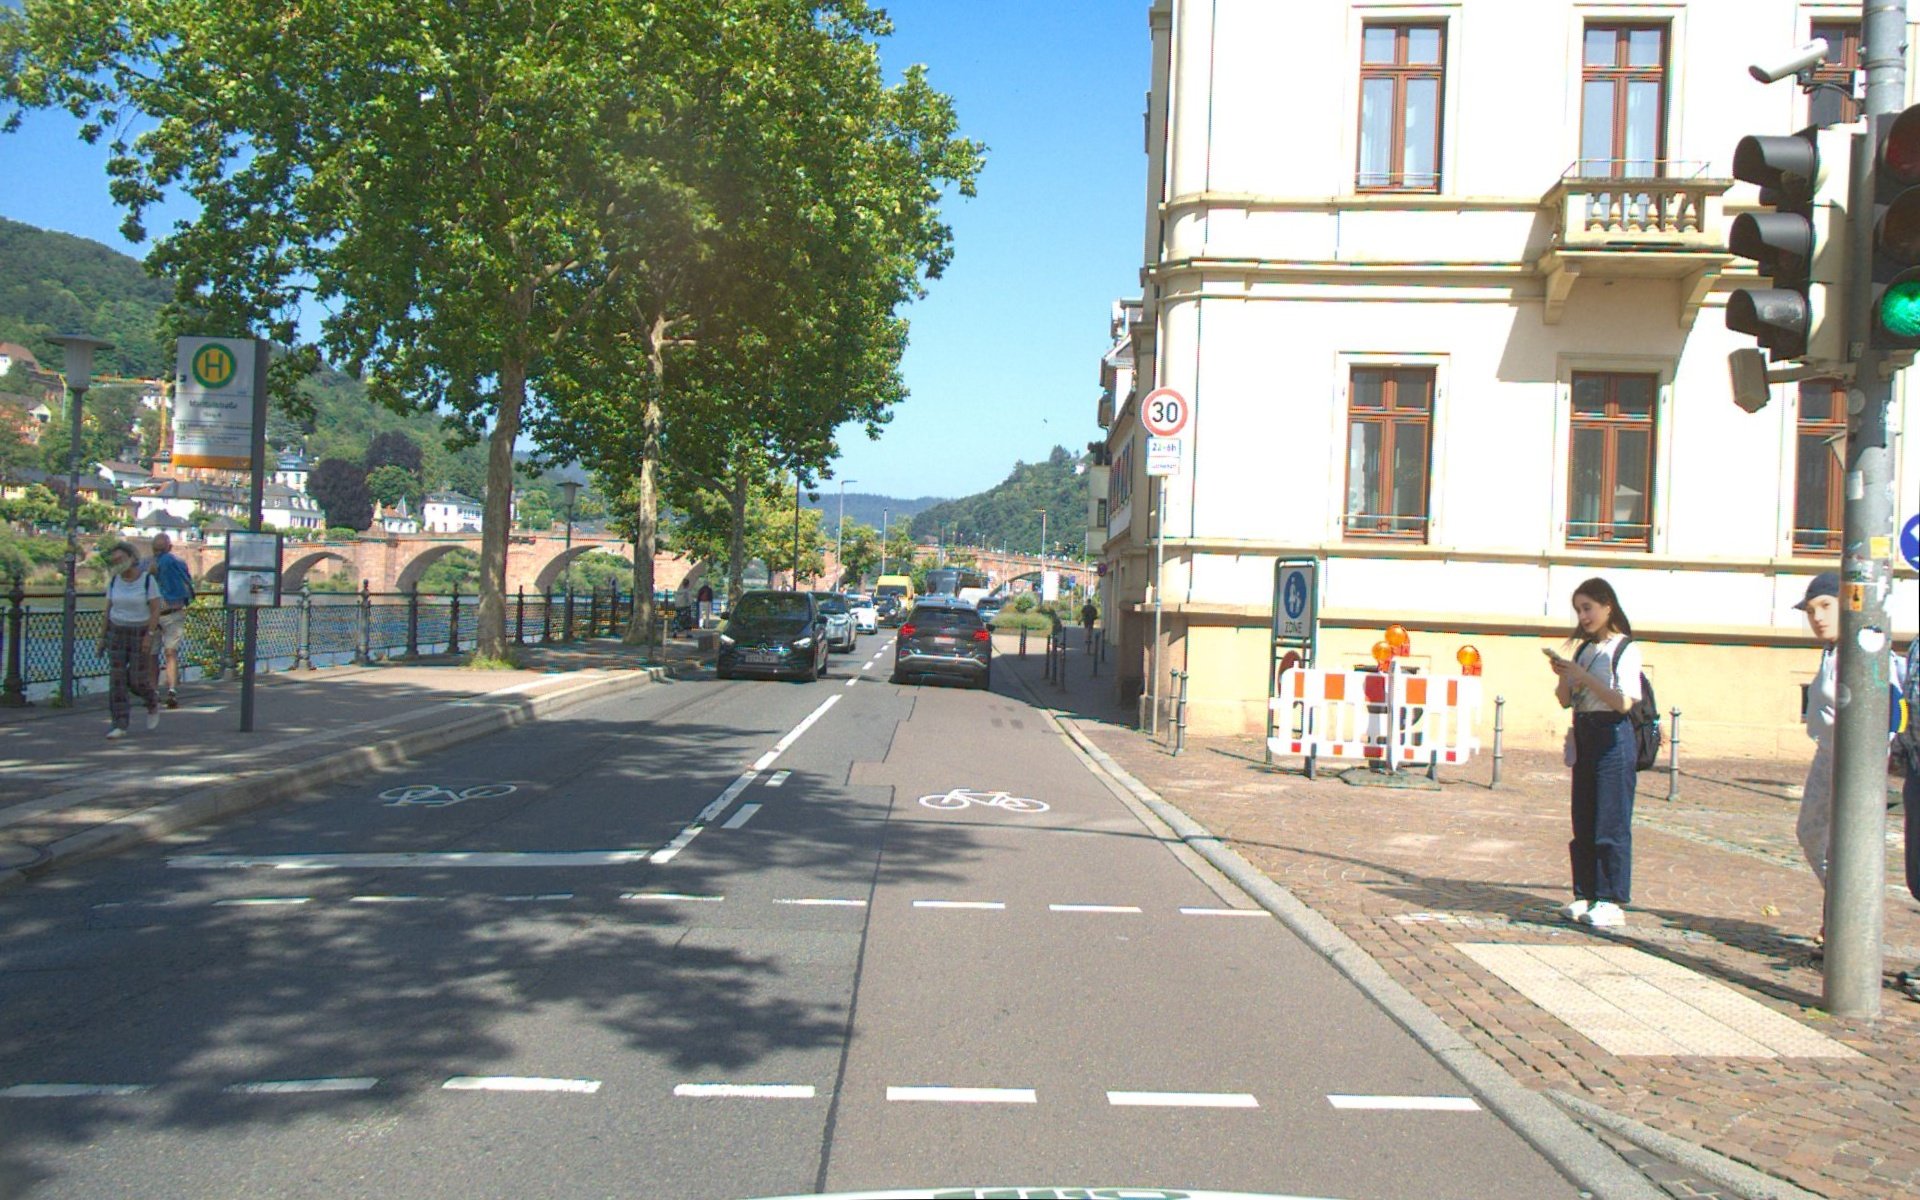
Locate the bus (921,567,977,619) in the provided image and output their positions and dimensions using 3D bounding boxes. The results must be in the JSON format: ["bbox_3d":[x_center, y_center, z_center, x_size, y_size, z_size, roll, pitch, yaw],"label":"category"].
[{"bbox_3d":[-0.731,-0.435,126.809,2.575,3.626,12.991,2,-1,7],"label":"bus"}]

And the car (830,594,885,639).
[{"bbox_3d":[-3.843,0.595,62.547,1.666,1.470,4.093,3,1,1],"label":"car"}]

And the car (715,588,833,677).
[{"bbox_3d":[-3.368,0.564,30.667,1.666,1.544,4.404,0,0,0],"label":"car"}]

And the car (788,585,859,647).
[{"bbox_3d":[-3.575,0.436,43.894,1.701,1.545,4.401,1,-1,-3],"label":"car"}]

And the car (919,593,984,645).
[{"bbox_3d":[-0.217,0.561,51.657,1.887,1.486,4.832,2,0,1],"label":"car"}]

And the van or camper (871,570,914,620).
[{"bbox_3d":[-3.751,-0.267,93.200,2.045,2.601,7.091,3,0,0],"label":"van or camper"}]

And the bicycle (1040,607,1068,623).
[{"bbox_3d":[6.084,0.979,107.387,1.772,0.893,0.502,4,1,3],"label":"bicycle"}]

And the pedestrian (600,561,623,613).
[{"bbox_3d":[-13.670,-0.510,64.876,0.679,1.979,0.886,2,0,-2],"label":"pedestrian"}]

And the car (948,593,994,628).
[{"bbox_3d":[0.565,0.490,79.968,1.886,1.580,4.834,1,0,4],"label":"car"}]

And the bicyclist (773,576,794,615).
[{"bbox_3d":[-7.509,-0.176,70.476,0.704,1.611,1.089,2,0,1],"label":"bicyclist"}]

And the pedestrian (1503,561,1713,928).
[{"bbox_3d":[3.165,0.681,8.132,0.701,1.705,0.682,2,0,-2],"label":"pedestrian"}]

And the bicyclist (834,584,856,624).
[{"bbox_3d":[-4.798,0.160,69.245,0.751,1.558,1.025,3,2,1],"label":"bicyclist"}]

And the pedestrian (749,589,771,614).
[{"bbox_3d":[-10.500,0.082,86.967,0.916,1.303,0.850,2,0,8],"label":"pedestrian"}]

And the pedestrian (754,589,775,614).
[{"bbox_3d":[-10.382,0.089,87.873,0.916,1.303,0.850,2,0,8],"label":"pedestrian"}]

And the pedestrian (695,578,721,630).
[{"bbox_3d":[-8.610,0.147,56.544,0.643,1.711,0.758,5,0,-2],"label":"pedestrian"}]

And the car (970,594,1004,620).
[{"bbox_3d":[1.754,0.425,105.762,1.886,1.580,4.834,1,0,4],"label":"car"}]

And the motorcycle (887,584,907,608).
[{"bbox_3d":[-3.171,-0.208,83.481,0.866,1.096,2.326,2,2,-5],"label":"motorcycle"}]

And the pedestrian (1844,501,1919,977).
[{"bbox_3d":[4.119,0.558,6.721,0.603,1.884,0.730,2,0,-1],"label":"pedestrian"}]

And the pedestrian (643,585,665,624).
[{"bbox_3d":[-12.947,0.192,69.936,0.679,1.644,0.664,2,0,6],"label":"pedestrian"}]

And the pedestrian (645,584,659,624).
[{"bbox_3d":[-12.958,0.168,69.659,0.406,1.625,0.451,2,0,6],"label":"pedestrian"}]

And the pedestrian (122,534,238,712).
[{"bbox_3d":[-8.191,0.236,17.407,0.697,1.795,0.972,2,0,-2],"label":"pedestrian"}]

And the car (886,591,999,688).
[{"bbox_3d":[-0.387,0.715,31.349,1.888,1.580,4.830,4,-1,-2],"label":"car"}]

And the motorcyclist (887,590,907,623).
[{"bbox_3d":[-3.185,0.307,83.458,0.861,1.611,1.024,2,0,-6],"label":"motorcyclist"}]

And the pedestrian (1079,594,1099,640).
[{"bbox_3d":[4.954,0.646,63.485,0.746,1.743,0.696,-1,-1,2],"label":"pedestrian"}]

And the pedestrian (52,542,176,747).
[{"bbox_3d":[-7.099,0.360,13.919,0.483,1.645,0.991,2,0,-2],"label":"pedestrian"}]

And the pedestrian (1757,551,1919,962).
[{"bbox_3d":[4.016,0.673,7.405,0.516,1.742,0.665,2,0,-2],"label":"pedestrian"}]

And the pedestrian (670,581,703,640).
[{"bbox_3d":[-7.711,0.288,46.665,0.746,1.614,0.695,2,0,-2],"label":"pedestrian"}]

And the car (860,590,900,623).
[{"bbox_3d":[-3.736,0.300,77.373,1.666,1.484,4.001,2,0,-1],"label":"car"}]
